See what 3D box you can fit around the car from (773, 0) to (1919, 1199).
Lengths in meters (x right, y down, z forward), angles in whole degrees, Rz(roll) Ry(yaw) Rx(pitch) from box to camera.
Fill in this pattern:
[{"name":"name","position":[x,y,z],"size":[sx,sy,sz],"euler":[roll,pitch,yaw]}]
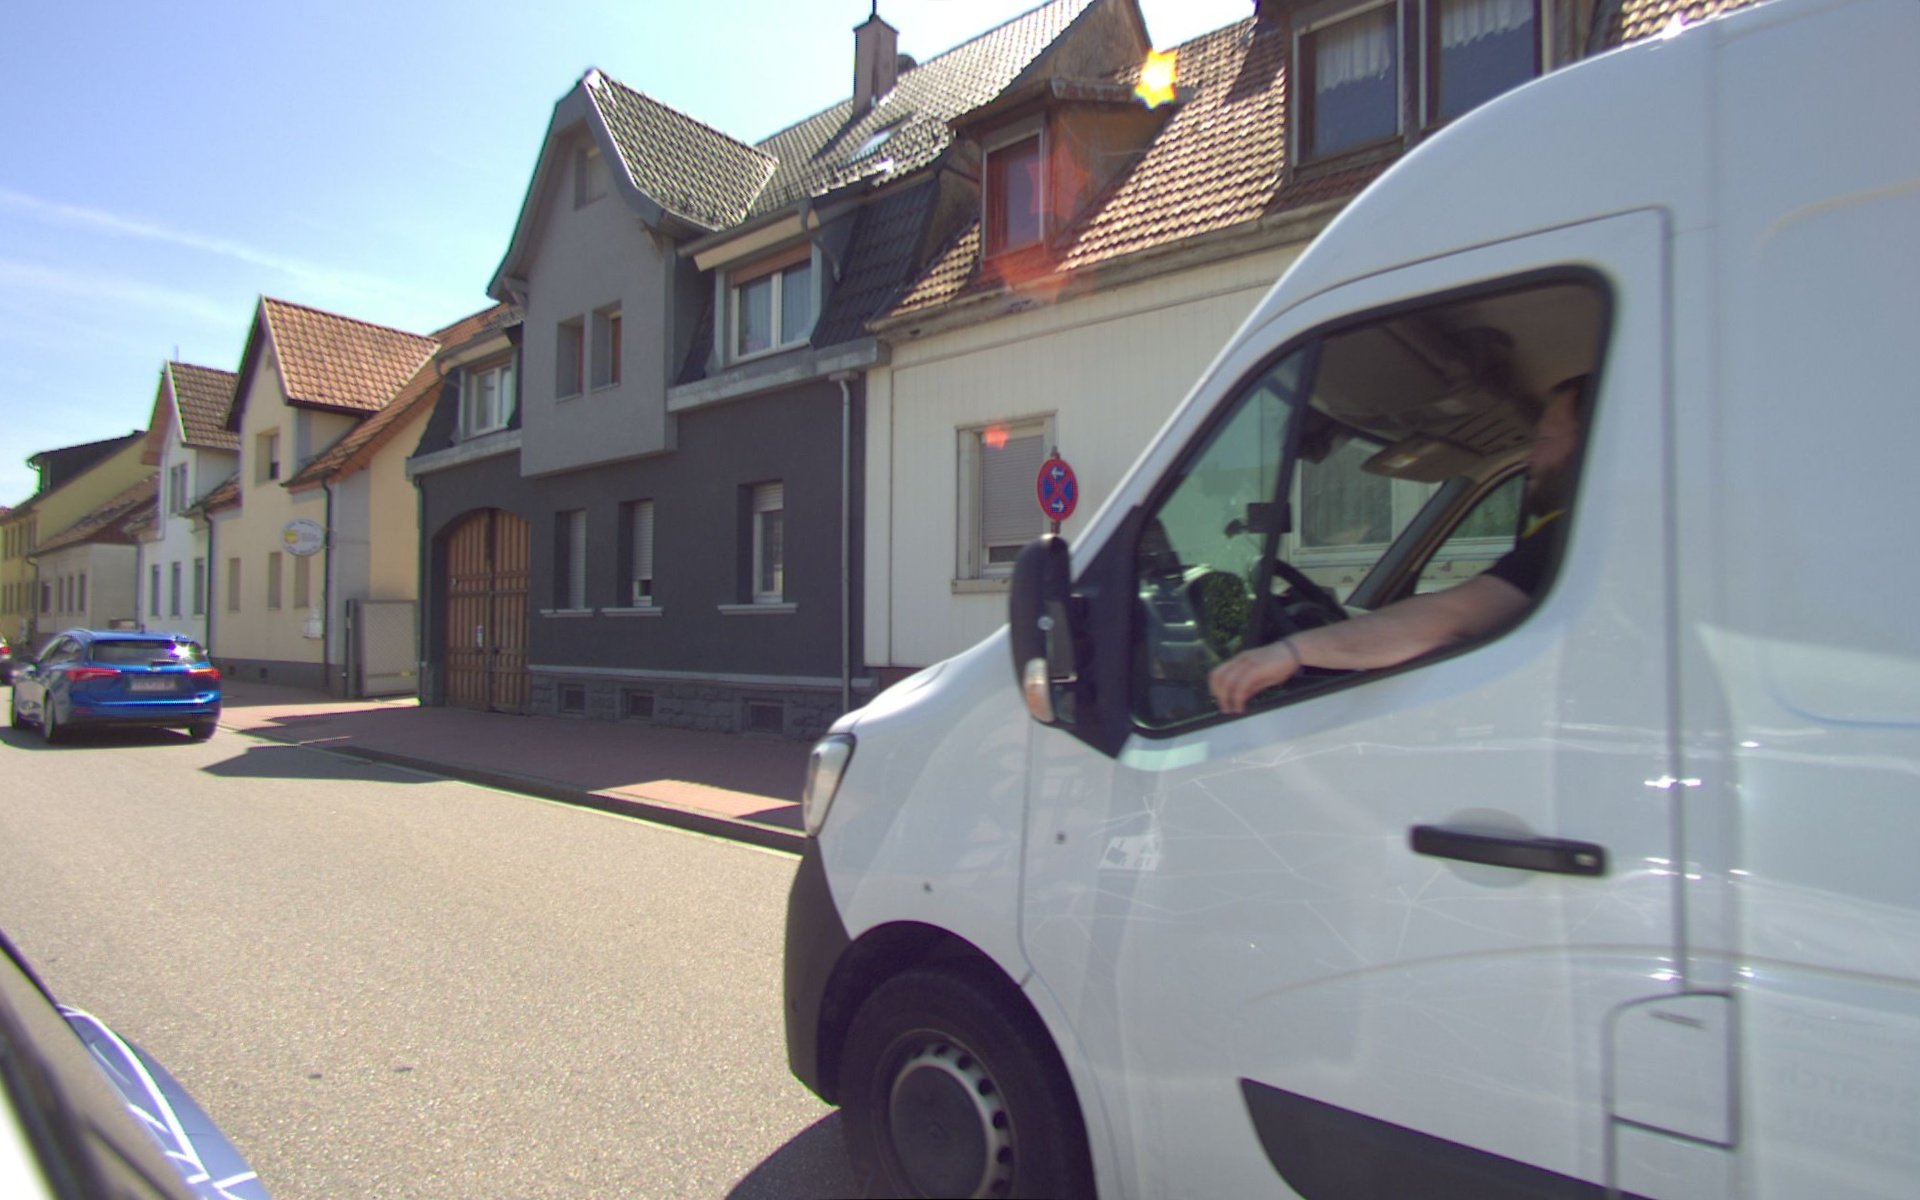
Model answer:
[{"name":"car","position":[2.488,0.223,1.228],"size":[6.066,2.480,2.008],"euler":[-2,-4,42]}]

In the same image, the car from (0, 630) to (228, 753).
[{"name":"car","position":[-11.943,1.172,14.169],"size":[4.396,1.465,1.629],"euler":[-1,-3,39]}]

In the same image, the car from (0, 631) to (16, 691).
[{"name":"car","position":[-25.502,1.504,25.684],"size":[3.924,1.470,1.660],"euler":[-1,-4,39]}]
